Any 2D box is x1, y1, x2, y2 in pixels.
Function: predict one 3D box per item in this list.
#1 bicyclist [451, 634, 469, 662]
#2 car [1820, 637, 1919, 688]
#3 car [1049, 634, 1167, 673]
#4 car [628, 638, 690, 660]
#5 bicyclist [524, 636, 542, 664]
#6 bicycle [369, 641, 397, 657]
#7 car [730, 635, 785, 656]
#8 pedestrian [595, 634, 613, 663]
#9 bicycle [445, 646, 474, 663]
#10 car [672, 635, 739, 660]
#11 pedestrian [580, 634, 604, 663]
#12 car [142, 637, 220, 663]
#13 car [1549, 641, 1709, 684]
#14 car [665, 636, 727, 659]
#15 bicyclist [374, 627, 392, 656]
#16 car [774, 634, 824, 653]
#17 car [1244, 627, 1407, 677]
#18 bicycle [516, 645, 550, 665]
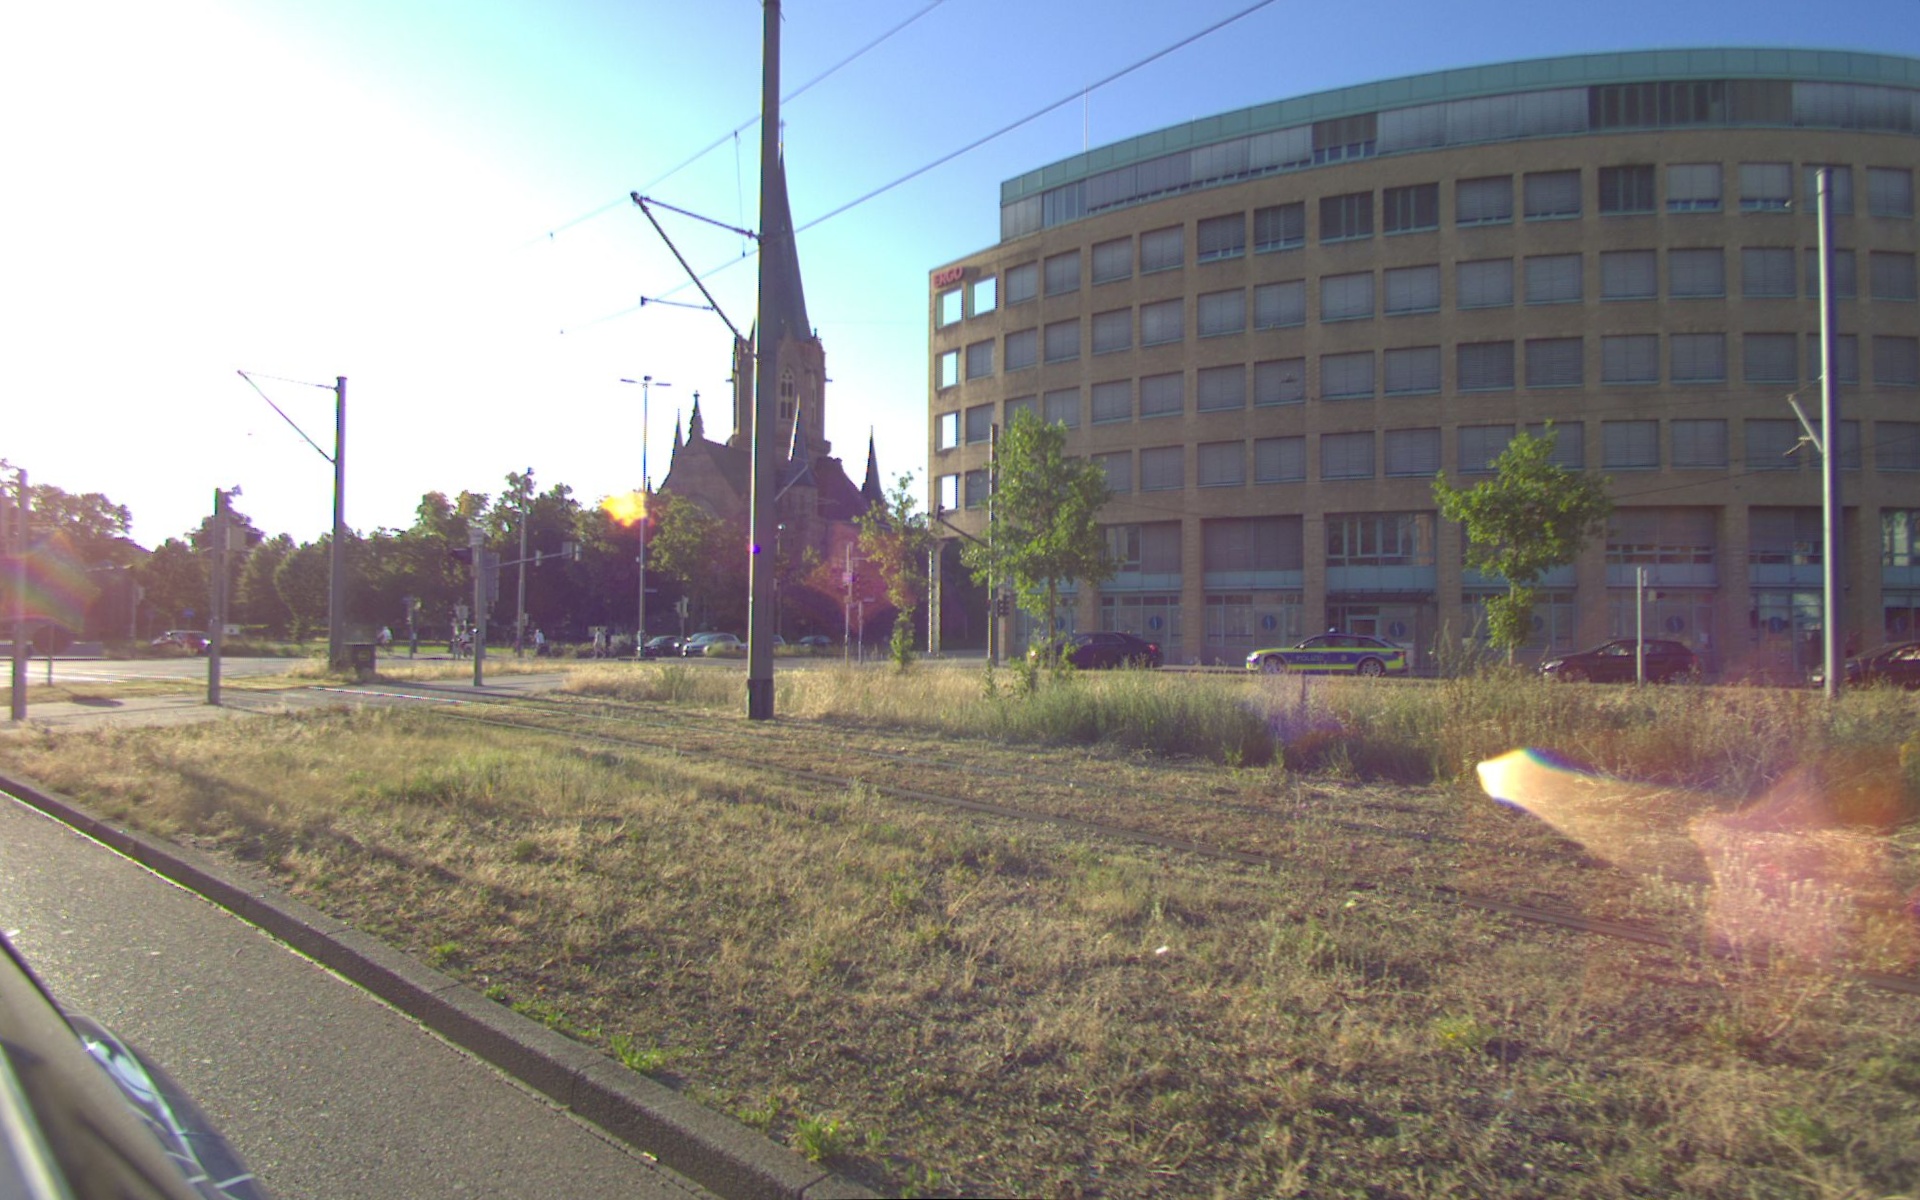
[{"bbox_3d":[-30.558,2.920,61.865,0.889,1.693,0.570,-1,-1,23],"label":"bicyclist"},{"bbox_3d":[25.277,1.626,26.584,3.717,1.291,1.638,-1,-2,24],"label":"car"},{"bbox_3d":[5.161,1.831,35.249,3.765,1.292,1.716,-1,-2,24],"label":"car"},{"bbox_3d":[-19.959,3.248,67.246,1.890,1.431,3.969,-1,-2,23],"label":"car"},{"bbox_3d":[-24.774,2.898,58.718,0.812,1.595,0.519,-1,-1,11],"label":"bicyclist"},{"bbox_3d":[-37.870,3.201,66.391,1.918,1.034,0.521,-1,-1,23],"label":"bicycle"},{"bbox_3d":[-14.286,3.222,71.662,1.890,1.431,3.969,-1,-2,23],"label":"car"},{"bbox_3d":[-20.930,2.823,59.515,0.714,1.685,0.731,-1,-2,26],"label":"pedestrian"},{"bbox_3d":[-30.585,3.317,61.861,1.918,1.034,0.456,-1,-1,24],"label":"bicycle"},{"bbox_3d":[-15.593,2.891,62.130,1.893,1.431,3.964,-1,-2,26],"label":"car"},{"bbox_3d":[-21.393,2.820,58.845,1.099,1.685,0.731,-1,-2,26],"label":"pedestrian"},{"bbox_3d":[-44.987,2.881,58.458,3.855,1.425,1.719,-1,-2,19],"label":"car"},{"bbox_3d":[19.146,1.779,29.123,3.574,1.162,1.514,-1,-2,22],"label":"car"},{"bbox_3d":[-17.108,3.063,65.859,1.890,1.431,3.969,-1,-2,23],"label":"car"},{"bbox_3d":[-37.864,2.711,66.402,0.889,1.841,0.570,-1,-1,23],"label":"bicyclist"},{"bbox_3d":[-12.177,3.265,76.803,1.890,1.431,3.969,-1,-2,23],"label":"car"},{"bbox_3d":[11.649,1.635,32.317,4.753,1.492,1.879,-1,-2,24],"label":"car"},{"bbox_3d":[-24.777,3.194,58.717,1.898,1.155,0.458,-1,-1,11],"label":"bicycle"}]
